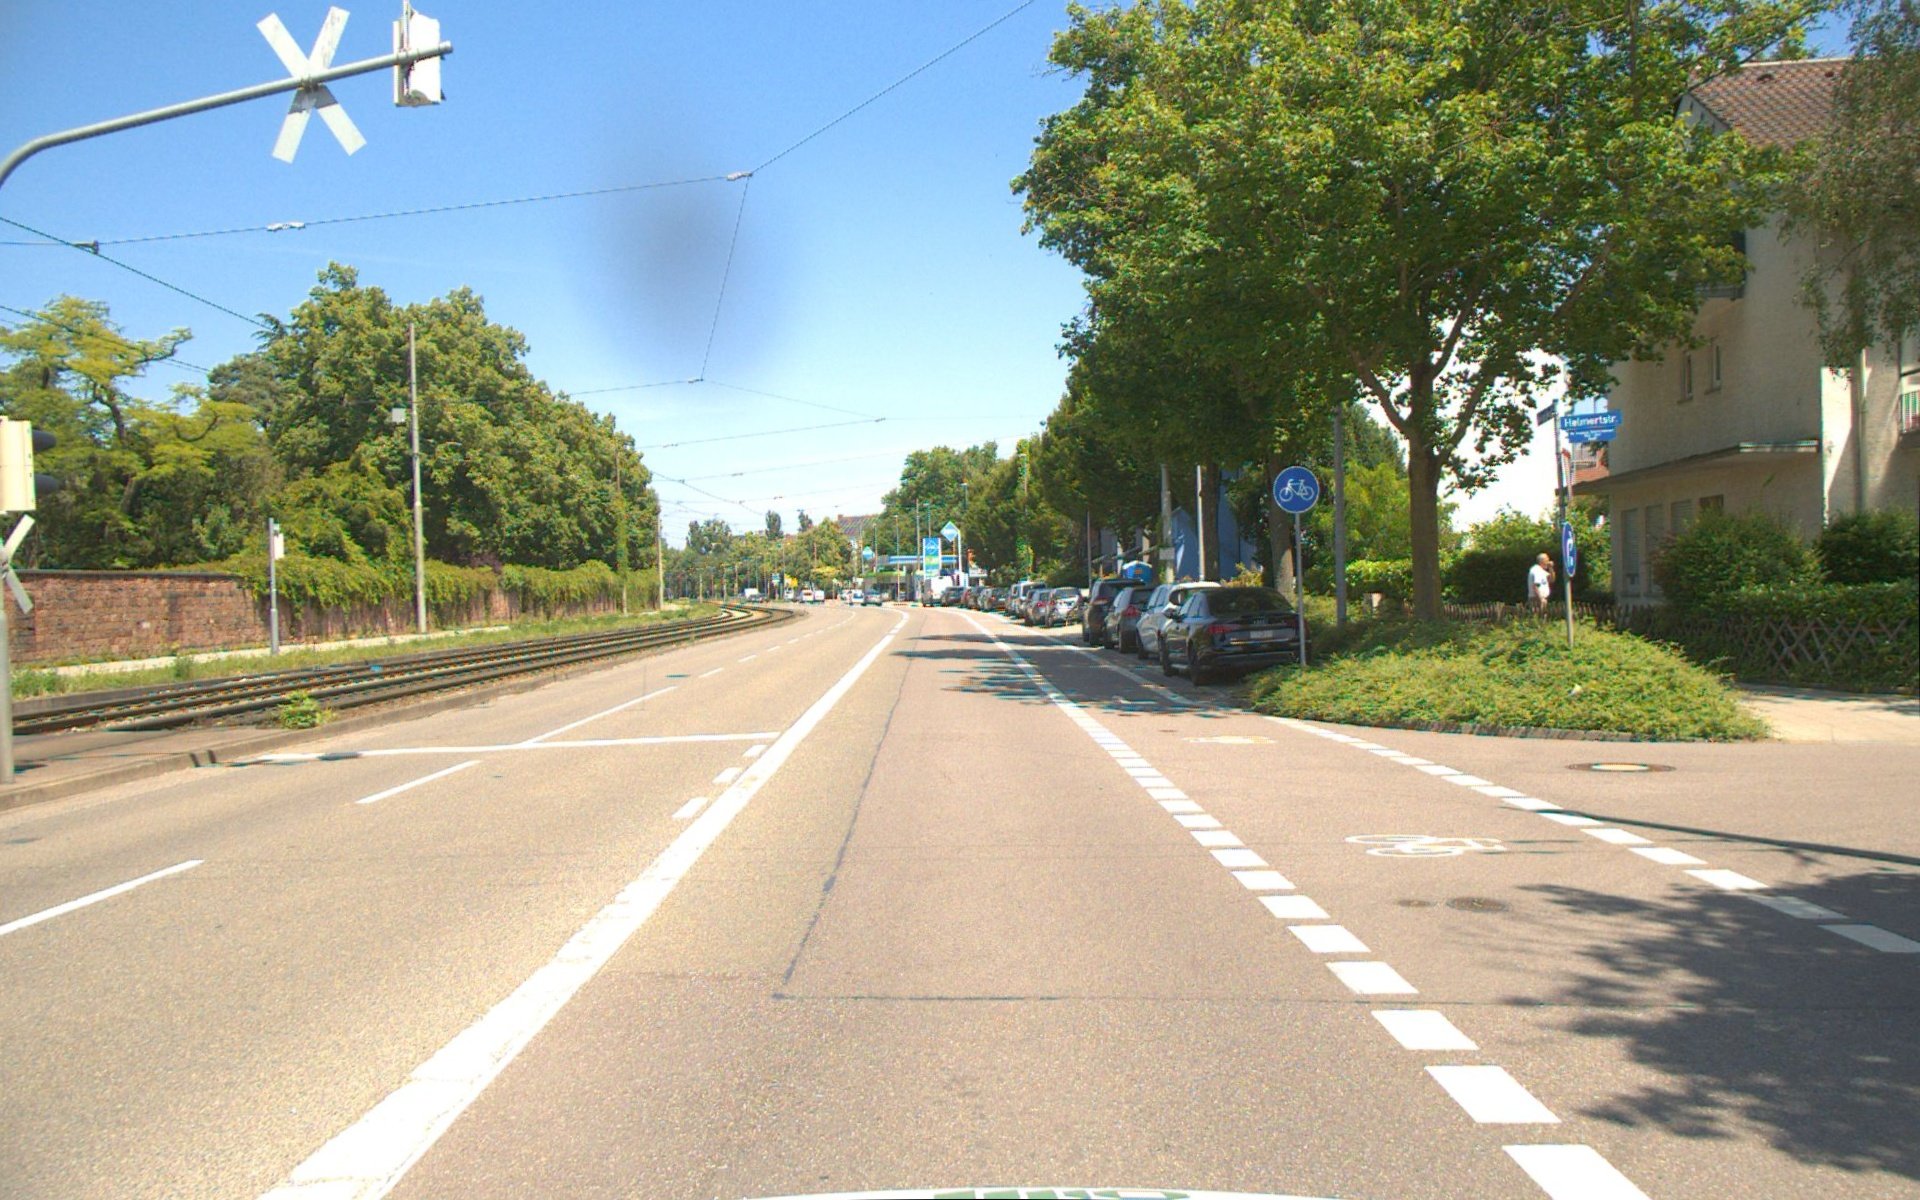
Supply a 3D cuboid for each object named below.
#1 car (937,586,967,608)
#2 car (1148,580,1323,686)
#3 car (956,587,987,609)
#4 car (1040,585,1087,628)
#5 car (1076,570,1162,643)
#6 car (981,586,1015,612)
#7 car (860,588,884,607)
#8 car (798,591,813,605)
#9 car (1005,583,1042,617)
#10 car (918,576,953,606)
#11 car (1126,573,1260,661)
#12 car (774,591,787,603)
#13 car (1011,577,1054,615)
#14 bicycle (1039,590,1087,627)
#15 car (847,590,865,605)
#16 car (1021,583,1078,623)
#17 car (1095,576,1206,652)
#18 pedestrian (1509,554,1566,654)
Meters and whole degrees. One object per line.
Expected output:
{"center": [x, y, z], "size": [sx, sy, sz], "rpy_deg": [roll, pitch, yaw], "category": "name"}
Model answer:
{"center": [-0.650, -0.219, 136.494], "size": [1.724, 1.658, 4.314], "rpy_deg": [-4, 1, -10], "category": "car"}
{"center": [4.408, 0.469, 27.206], "size": [1.804, 1.461, 4.822], "rpy_deg": [-4, 1, -3], "category": "car"}
{"center": [0.861, -0.158, 126.547], "size": [1.675, 1.589, 4.315], "rpy_deg": [-4, 1, -8], "category": "car"}
{"center": [4.133, 0.240, 66.484], "size": [1.488, 1.556, 3.816], "rpy_deg": [-4, 1, -1], "category": "car"}
{"center": [4.228, 0.141, 44.565], "size": [1.803, 1.736, 4.626], "rpy_deg": [-4, 1, 1], "category": "car"}
{"center": [2.480, -0.078, 109.480], "size": [1.674, 1.518, 5.033], "rpy_deg": [-4, 1, -5], "category": "car"}
{"center": [-8.585, -0.232, 161.023], "size": [1.724, 1.658, 4.314], "rpy_deg": [-4, 1, -10], "category": "car"}
{"center": [-22.253, -0.302, 237.647], "size": [1.724, 1.907, 4.314], "rpy_deg": [-4, 1, -10], "category": "car"}
{"center": [3.525, -0.045, 92.644], "size": [1.803, 1.723, 4.778], "rpy_deg": [-4, 1, 0], "category": "car"}
{"center": [-2.166, -0.810, 146.581], "size": [1.965, 2.499, 6.093], "rpy_deg": [-4, 1, -11], "category": "car"}
{"center": [4.622, 0.303, 33.369], "size": [1.804, 1.556, 4.203], "rpy_deg": [-4, 1, -3], "category": "car"}
{"center": [-27.290, -0.444, 251.478], "size": [1.723, 1.658, 4.316], "rpy_deg": [-4, 1, -8], "category": "car"}
{"center": [3.745, -0.237, 86.462], "size": [1.804, 1.825, 4.352], "rpy_deg": [-4, 1, -2], "category": "car"}
{"center": [4.012, 0.323, 64.443], "size": [1.737, 1.249, 0.684], "rpy_deg": [-6, 0, 3], "category": "bicycle"}
{"center": [-12.373, -0.353, 196.795], "size": [1.723, 1.658, 4.316], "rpy_deg": [-4, 1, -8], "category": "car"}
{"center": [3.832, 0.102, 71.486], "size": [1.804, 1.556, 4.962], "rpy_deg": [-4, 1, -3], "category": "car"}
{"center": [4.399, 0.290, 38.835], "size": [1.804, 1.556, 4.351], "rpy_deg": [-4, 1, -3], "category": "car"}
{"center": [10.233, 0.068, 29.301], "size": [0.733, 1.752, 0.632], "rpy_deg": [-1, 0, -7], "category": "pedestrian"}
